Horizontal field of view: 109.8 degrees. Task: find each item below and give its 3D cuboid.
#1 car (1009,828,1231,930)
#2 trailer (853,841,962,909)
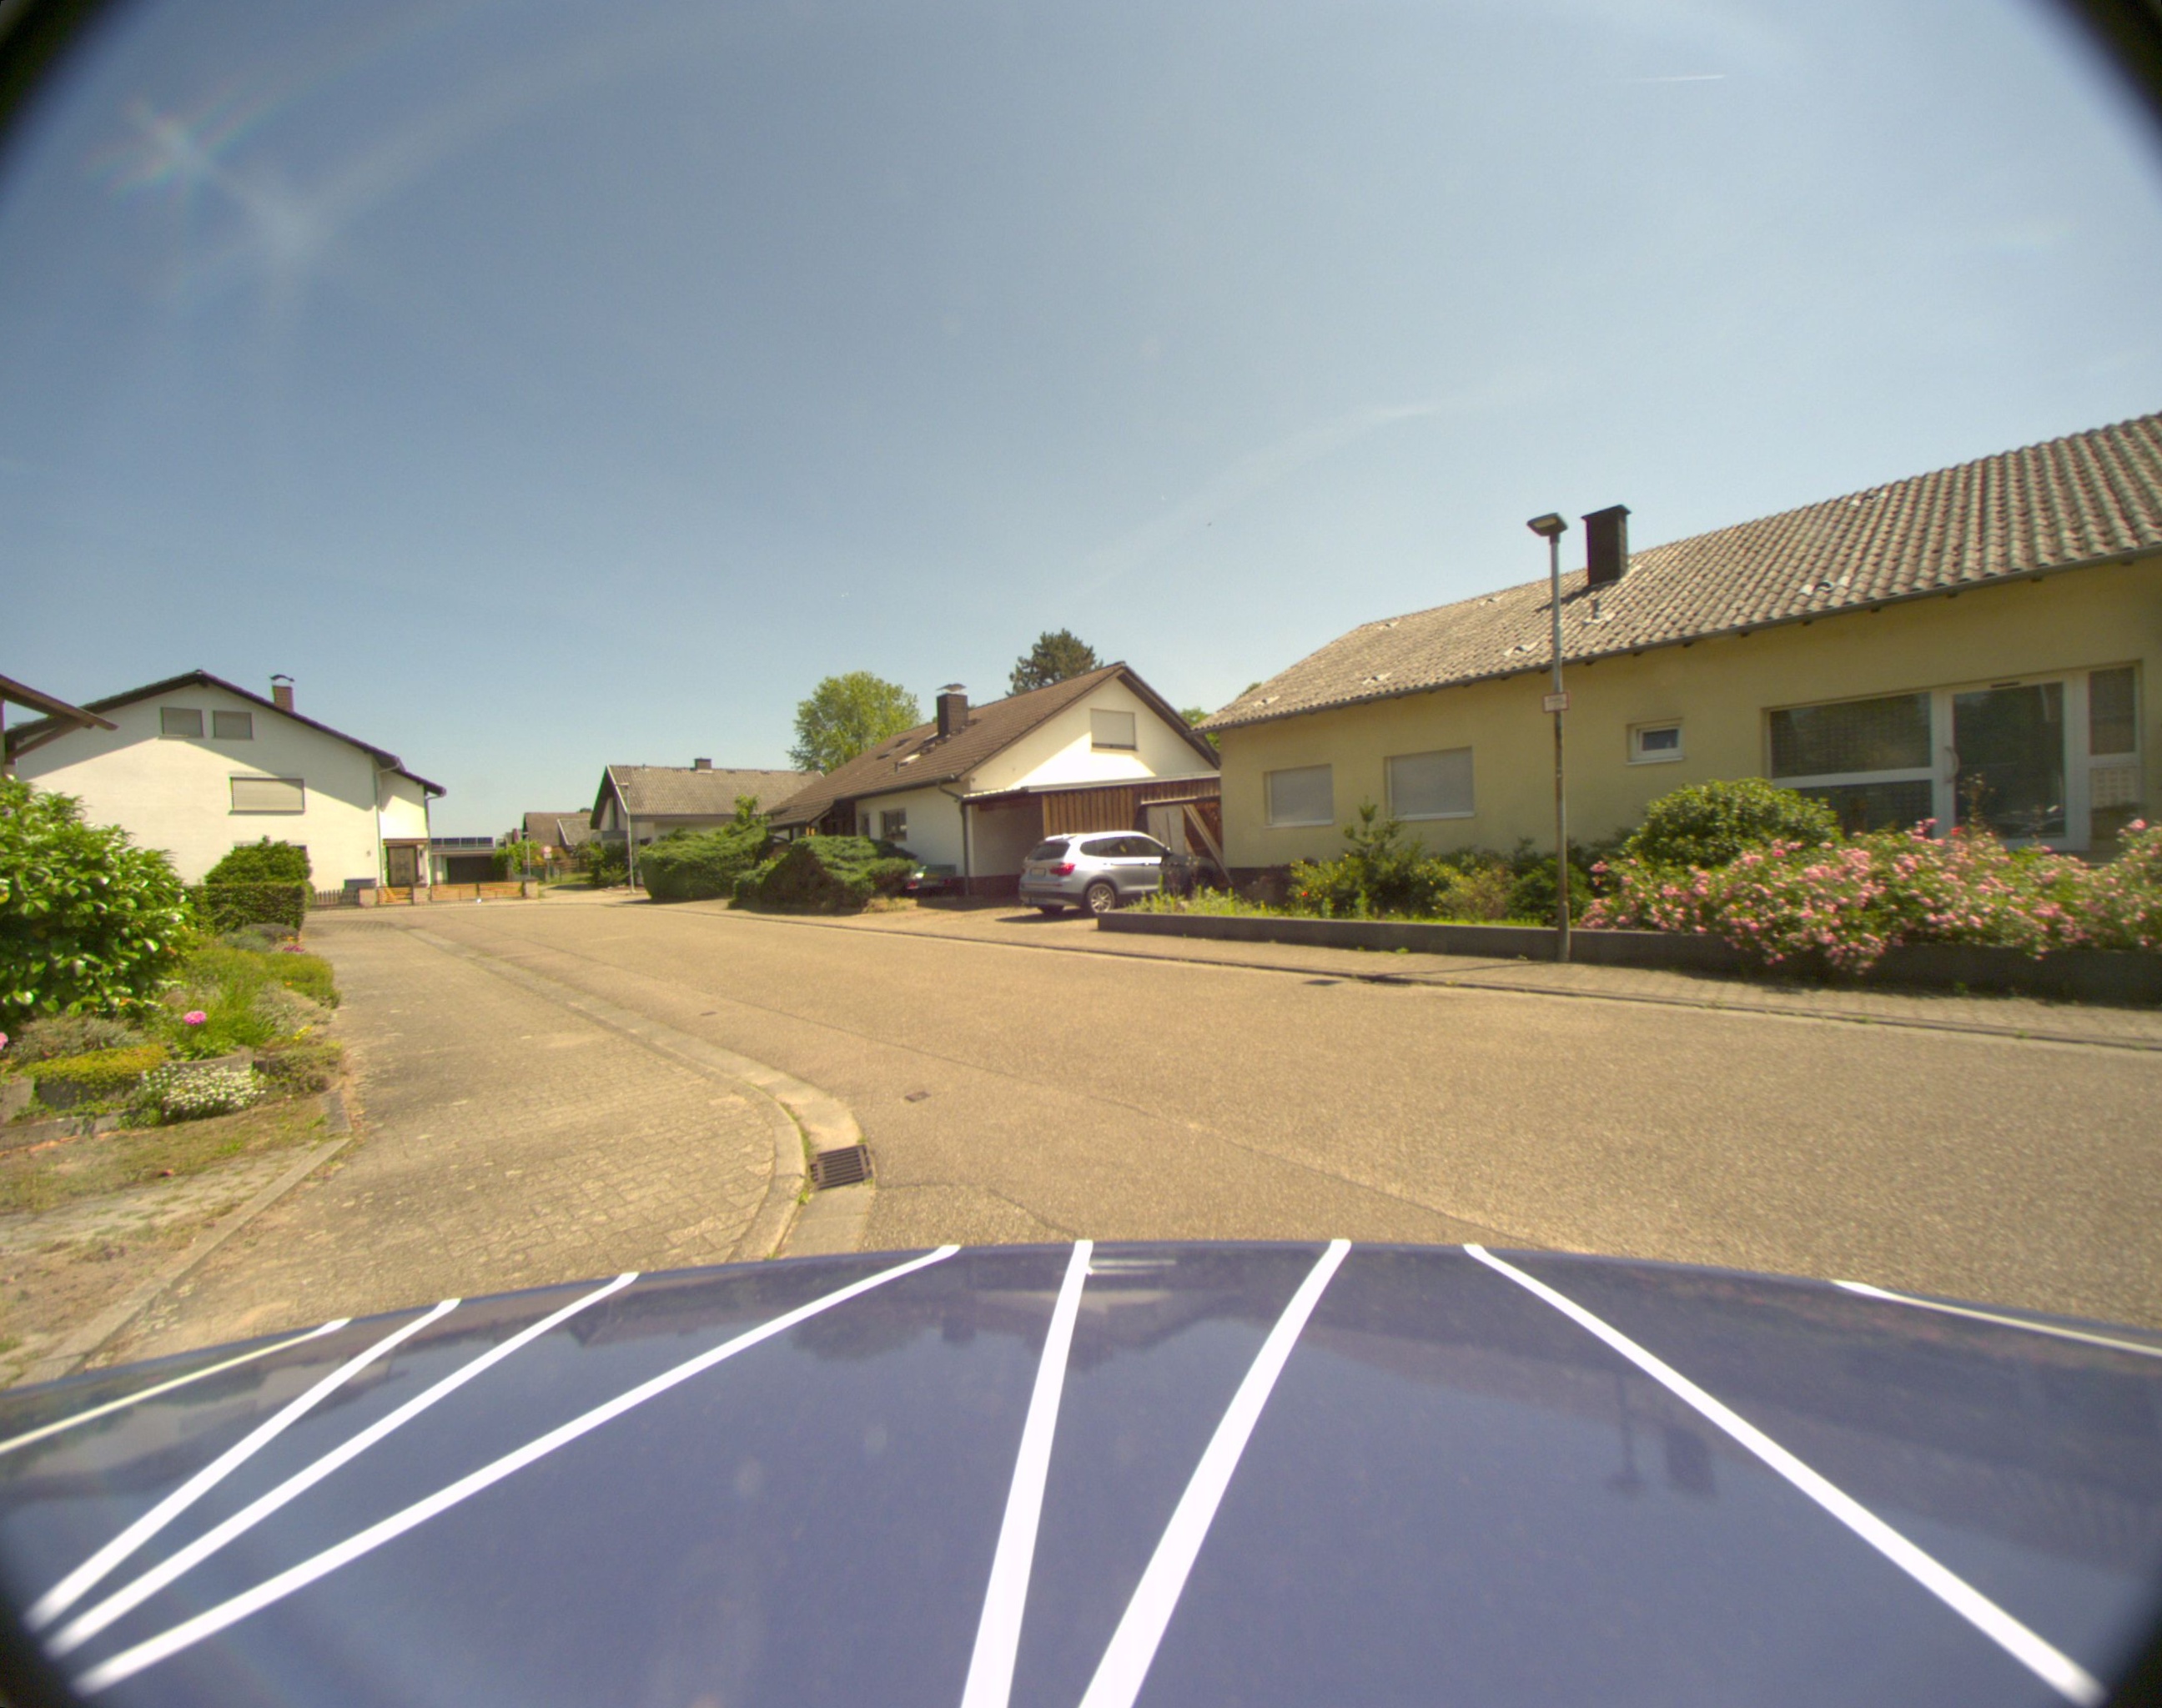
[{"bbox_3d":[0.938,0.427,16.293,4.649,1.693,1.705,-5,3,-36],"label":"car"},{"bbox_3d":[-4.913,0.541,21.295,1.595,1.663,3.287,-5,3,-39],"label":"trailer"}]
